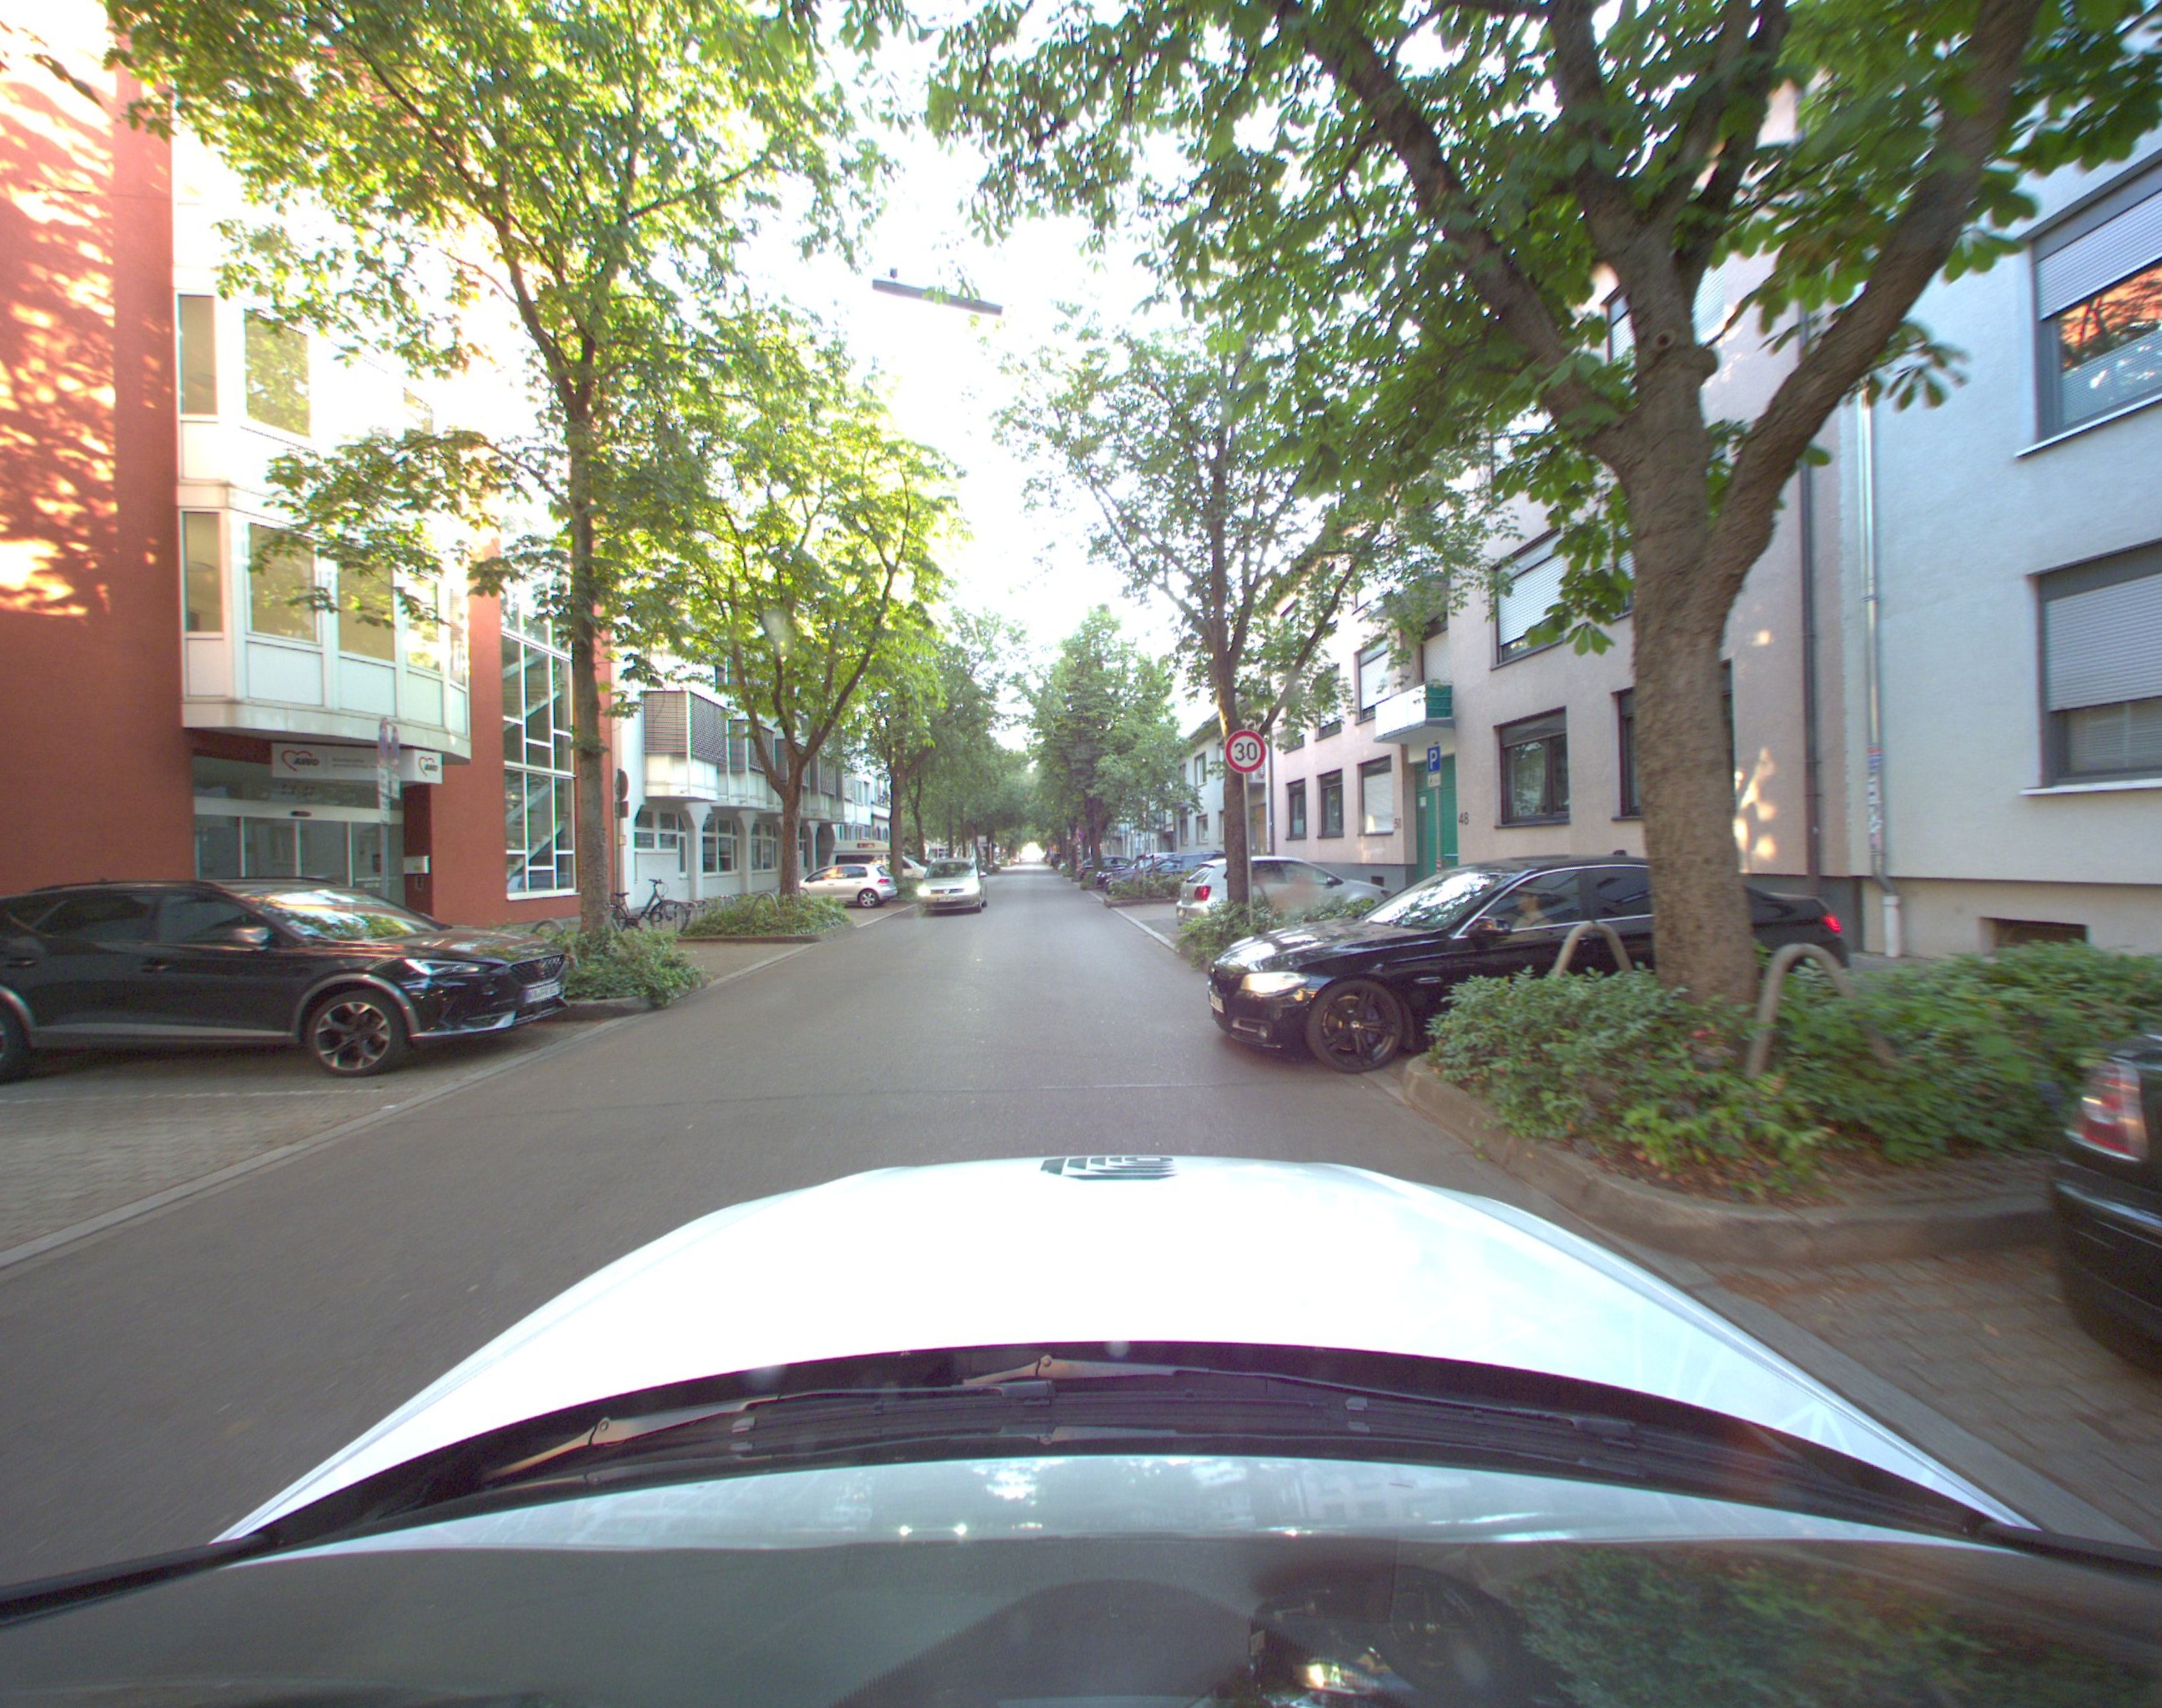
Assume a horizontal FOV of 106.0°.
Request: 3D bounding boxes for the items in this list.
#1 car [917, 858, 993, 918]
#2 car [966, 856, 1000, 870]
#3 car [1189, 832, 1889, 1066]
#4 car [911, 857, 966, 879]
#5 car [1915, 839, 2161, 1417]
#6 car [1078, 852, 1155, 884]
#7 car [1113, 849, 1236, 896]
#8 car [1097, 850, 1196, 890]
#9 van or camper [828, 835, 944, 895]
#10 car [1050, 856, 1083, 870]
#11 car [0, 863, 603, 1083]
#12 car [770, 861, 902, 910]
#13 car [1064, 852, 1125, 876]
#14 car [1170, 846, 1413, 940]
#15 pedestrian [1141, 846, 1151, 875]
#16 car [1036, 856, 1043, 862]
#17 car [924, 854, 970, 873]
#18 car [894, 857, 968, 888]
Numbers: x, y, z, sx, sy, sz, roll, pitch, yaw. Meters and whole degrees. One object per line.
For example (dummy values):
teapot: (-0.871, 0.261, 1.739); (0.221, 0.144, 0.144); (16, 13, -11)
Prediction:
car: (-3.704, 0.946, 24.561); (1.775, 1.562, 4.164); (-2, 0, -2)
car: (-12.197, 1.097, 101.445); (3.958, 1.619, 1.783); (-2, 0, -3)
car: (3.396, 0.642, 6.606); (4.735, 1.480, 1.798); (-2, 0, -4)
car: (-11.156, 1.086, 63.863); (3.958, 1.619, 1.783); (-2, 0, -3)
car: (4.379, 0.605, 1.825); (3.607, 1.363, 1.661); (-2, 0, -7)
car: (1.864, 0.741, 43.713); (3.960, 1.527, 1.782); (-2, 0, -4)
car: (3.194, 0.621, 28.336); (3.962, 1.476, 1.782); (-2, 0, -6)
car: (2.750, 0.659, 34.849); (3.960, 1.527, 1.782); (-2, 0, -4)
van or camper: (-8.589, 0.484, 36.249); (4.654, 2.478, 1.997); (-2, 0, -4)
car: (-1.787, 1.089, 99.785); (3.958, 1.684, 1.783); (-2, 0, -3)
car: (-6.887, 0.912, 7.054); (4.345, 1.517, 1.783); (-2, 0, -4)
car: (-8.306, 1.049, 27.905); (3.958, 1.517, 1.783); (-2, 0, -3)
car: (0.905, 0.665, 55.642); (3.961, 1.527, 1.782); (-2, 0, -5)
car: (3.709, 0.655, 14.694); (3.903, 1.476, 1.661); (-2, 0, -6)
pedestrian: (4.598, 0.439, 57.344); (0.587, 2.013, 0.669); (-1, 0, -2)
car: (-11.635, 1.396, 228.845); (1.818, 1.531, 3.996); (-1, 0, -3)
car: (-12.380, 0.894, 75.540); (3.958, 1.619, 1.783); (-2, 0, -3)
car: (-8.676, 1.050, 47.259); (3.958, 1.619, 1.783); (-2, 0, -3)
